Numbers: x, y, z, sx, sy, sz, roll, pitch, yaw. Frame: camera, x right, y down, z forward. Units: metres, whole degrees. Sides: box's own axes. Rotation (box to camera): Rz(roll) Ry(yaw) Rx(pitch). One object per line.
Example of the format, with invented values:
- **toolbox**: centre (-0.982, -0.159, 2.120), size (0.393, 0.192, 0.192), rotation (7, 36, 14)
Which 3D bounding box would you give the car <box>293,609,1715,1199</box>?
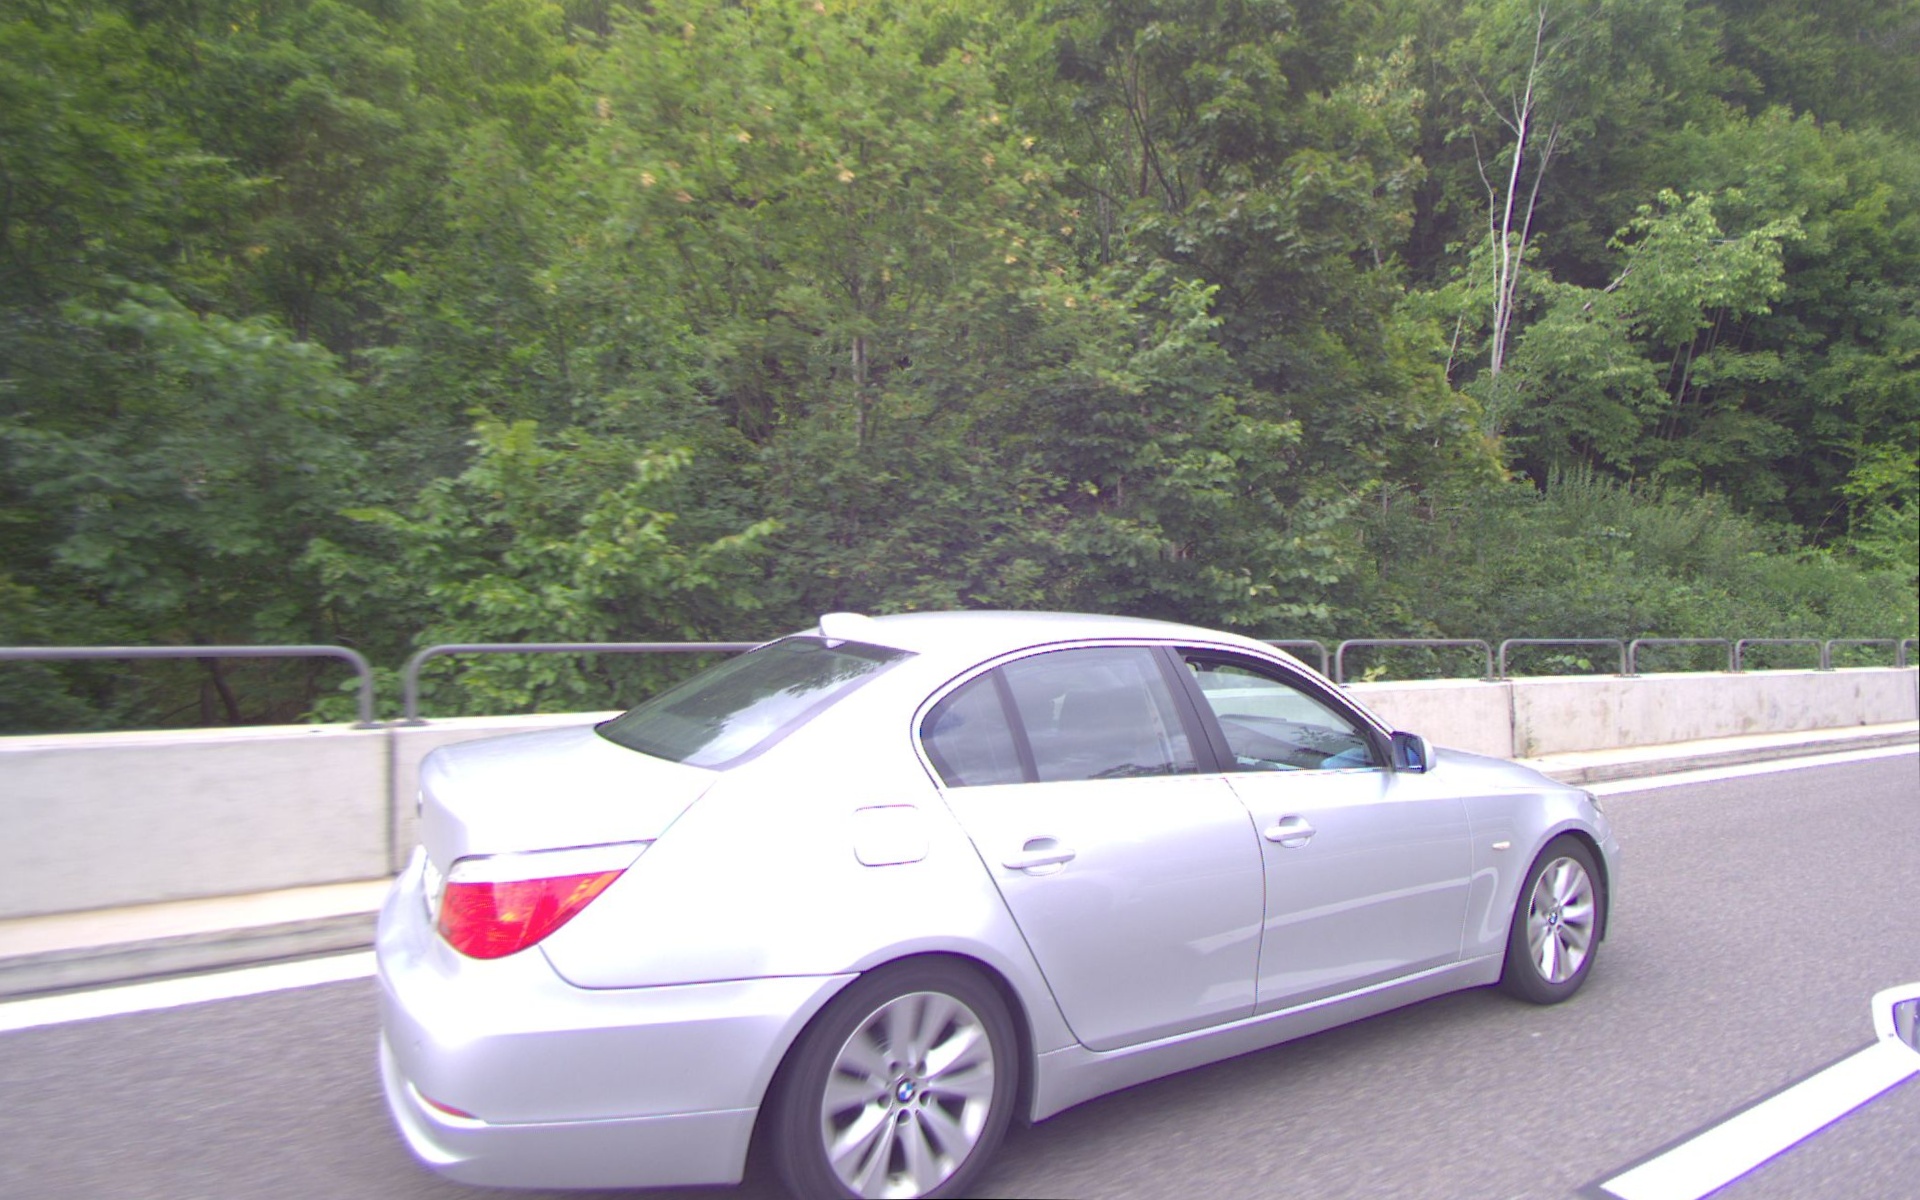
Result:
- **car**: centre (0.608, 0.831, 3.770), size (5.077, 1.476, 1.818), rotation (2, -1, -31)
